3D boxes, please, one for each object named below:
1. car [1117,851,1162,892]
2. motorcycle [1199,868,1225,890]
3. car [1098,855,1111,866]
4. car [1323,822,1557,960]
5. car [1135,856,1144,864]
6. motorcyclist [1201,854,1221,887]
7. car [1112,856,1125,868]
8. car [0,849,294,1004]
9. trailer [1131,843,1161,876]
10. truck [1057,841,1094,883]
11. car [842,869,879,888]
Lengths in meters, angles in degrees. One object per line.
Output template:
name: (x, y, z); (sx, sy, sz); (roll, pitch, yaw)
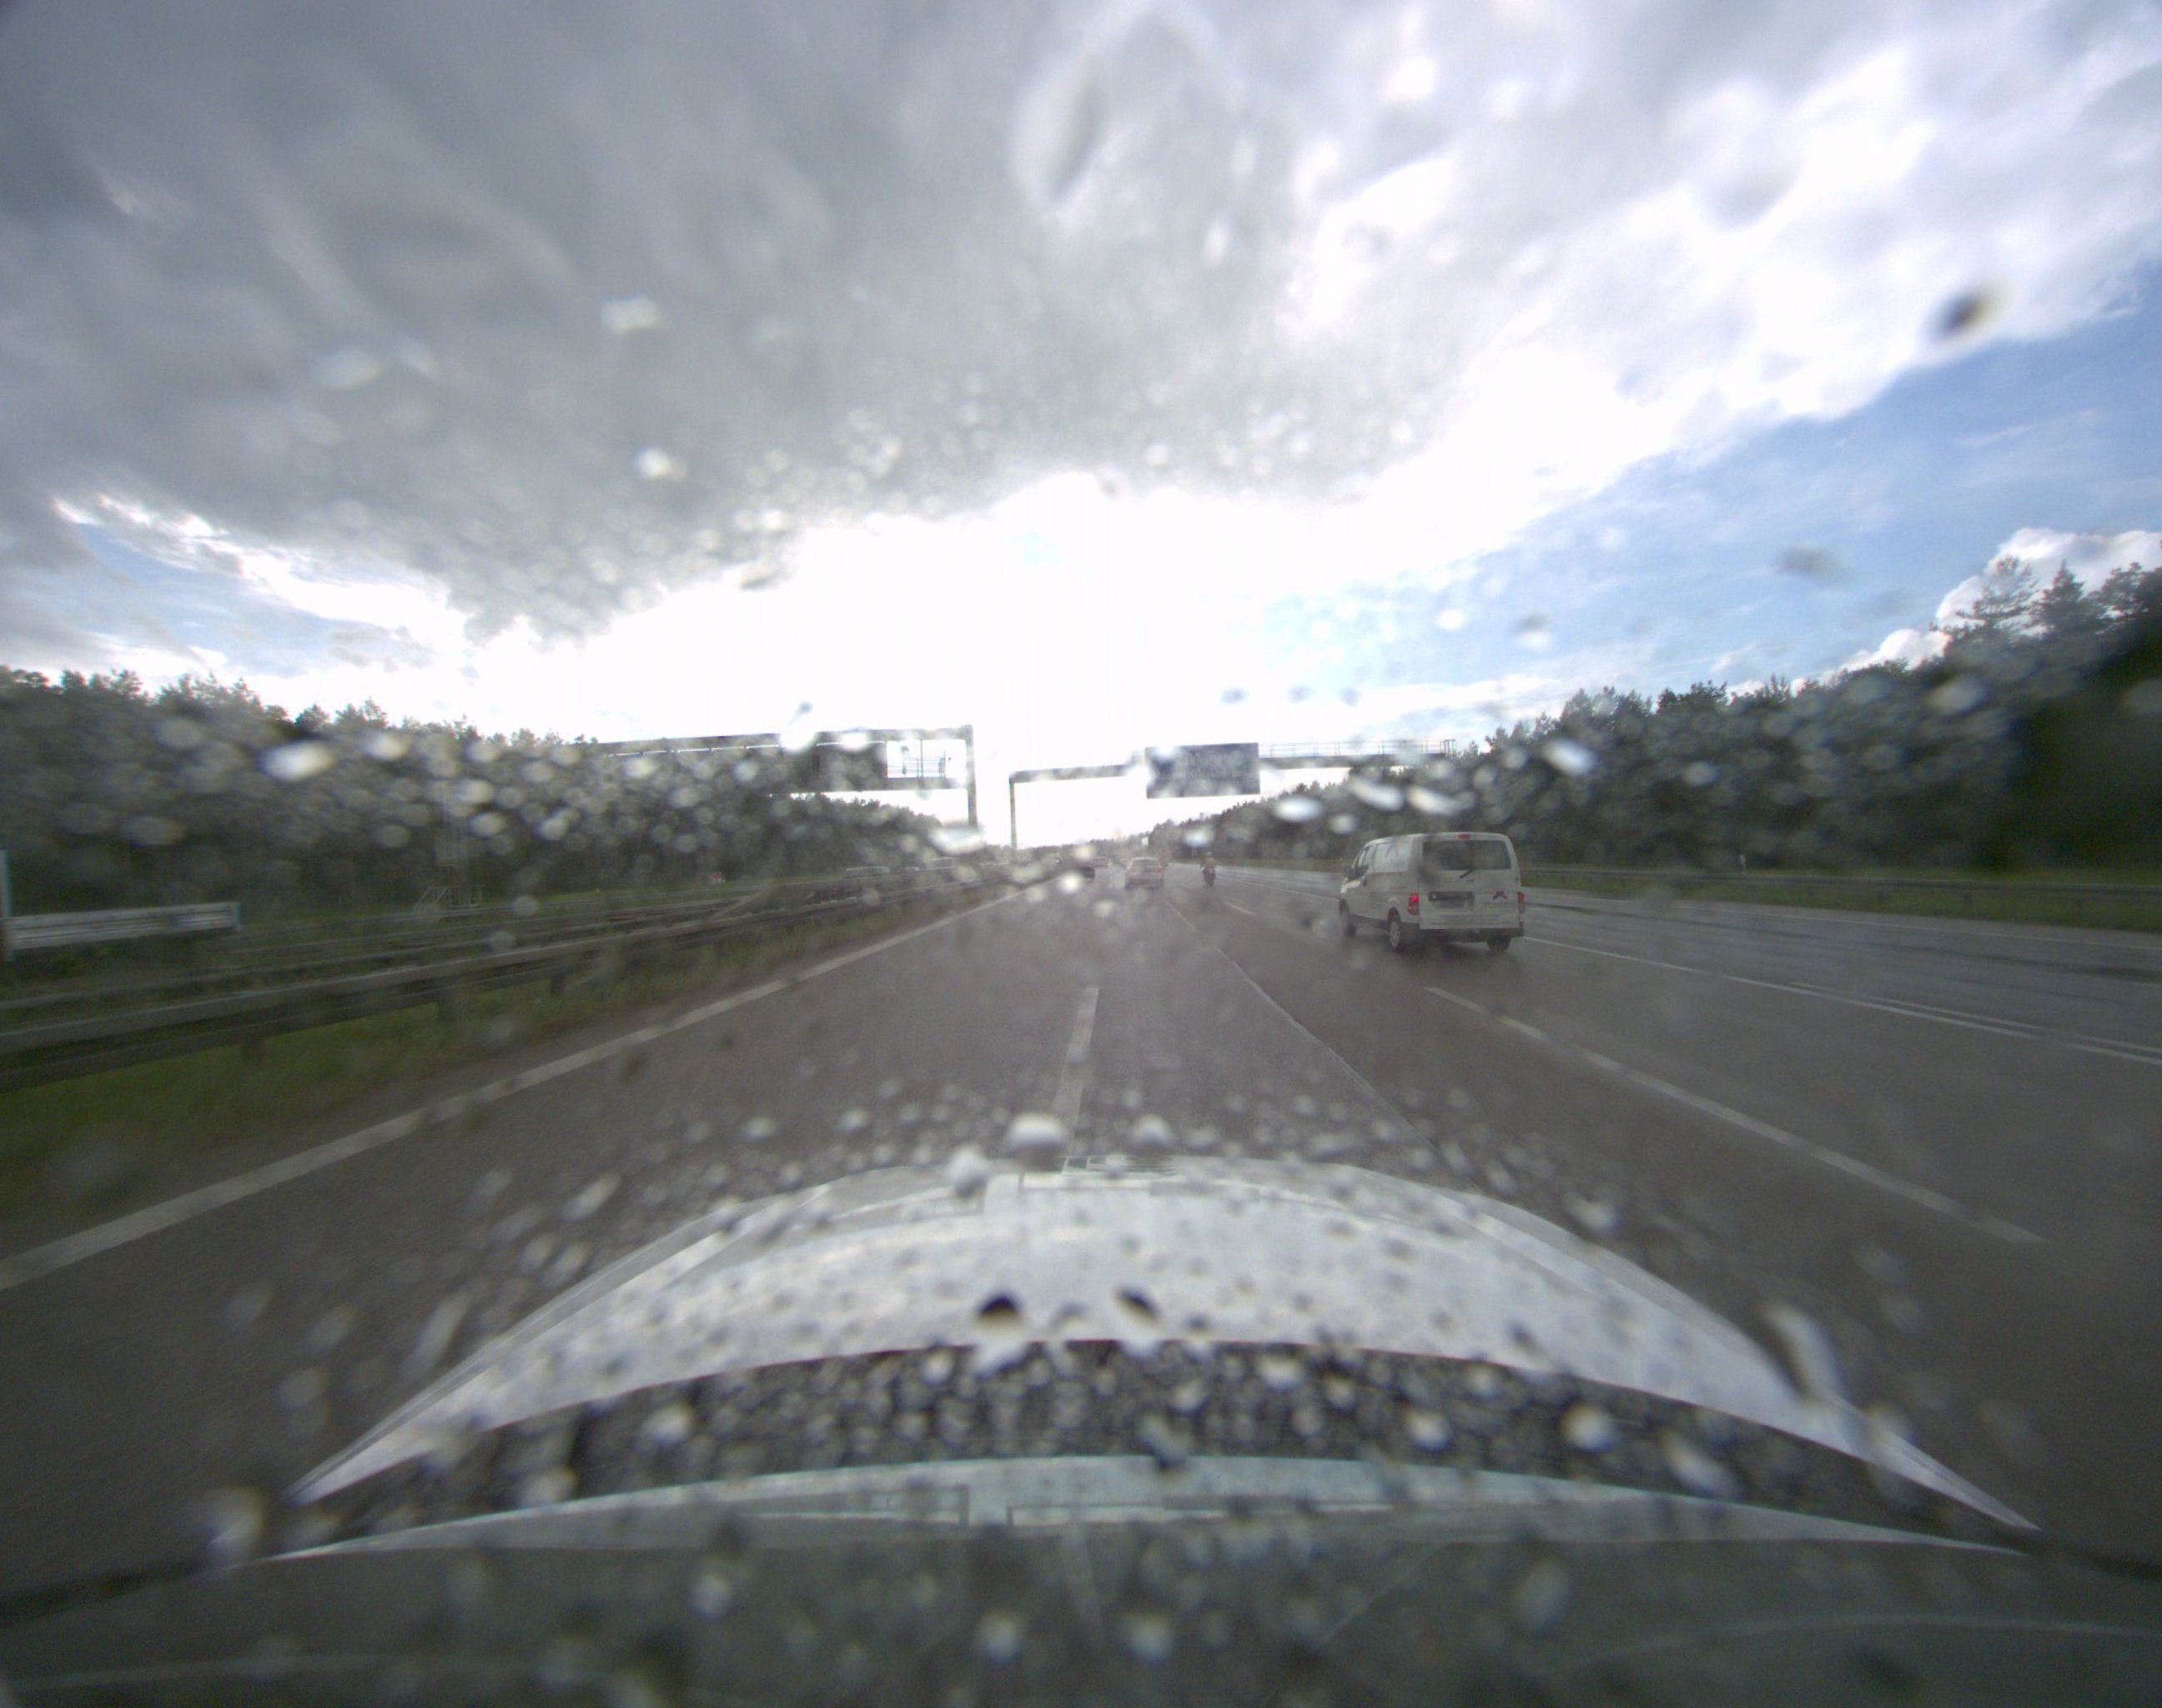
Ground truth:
car: (2.905, 0.826, 40.166); (2.068, 1.885, 5.017); (0, 0, 5)
motorcycle: (6.556, 1.218, 40.854); (0.996, 1.031, 2.175); (-1, 0, 2)
car: (3.259, 0.950, 113.153); (1.824, 1.466, 4.002); (-1, -1, 2)
car: (5.741, 0.534, 13.839); (1.956, 1.902, 4.884); (-1, 0, 2)
car: (14.504, 1.568, 203.070); (1.987, 2.014, 4.000); (0, -1, 1)
motorcyclist: (6.533, 0.836, 40.967); (0.888, 1.615, 0.959); (-1, -1, 1)
car: (6.284, 1.320, 136.955); (1.901, 2.014, 4.000); (-1, 0, 1)
car: (-15.087, 0.936, 10.866); (2.273, 2.013, 6.747); (0, 0, 4)
trailer: (8.430, 0.777, 107.661); (2.318, 4.002, 13.398); (-1, -1, -2)
truck: (-0.332, 0.477, 51.220); (2.130, 2.489, 5.312); (-1, 0, 0)
car: (-16.395, 1.799, 60.708); (1.619, 1.258, 3.842); (-1, 0, 1)
